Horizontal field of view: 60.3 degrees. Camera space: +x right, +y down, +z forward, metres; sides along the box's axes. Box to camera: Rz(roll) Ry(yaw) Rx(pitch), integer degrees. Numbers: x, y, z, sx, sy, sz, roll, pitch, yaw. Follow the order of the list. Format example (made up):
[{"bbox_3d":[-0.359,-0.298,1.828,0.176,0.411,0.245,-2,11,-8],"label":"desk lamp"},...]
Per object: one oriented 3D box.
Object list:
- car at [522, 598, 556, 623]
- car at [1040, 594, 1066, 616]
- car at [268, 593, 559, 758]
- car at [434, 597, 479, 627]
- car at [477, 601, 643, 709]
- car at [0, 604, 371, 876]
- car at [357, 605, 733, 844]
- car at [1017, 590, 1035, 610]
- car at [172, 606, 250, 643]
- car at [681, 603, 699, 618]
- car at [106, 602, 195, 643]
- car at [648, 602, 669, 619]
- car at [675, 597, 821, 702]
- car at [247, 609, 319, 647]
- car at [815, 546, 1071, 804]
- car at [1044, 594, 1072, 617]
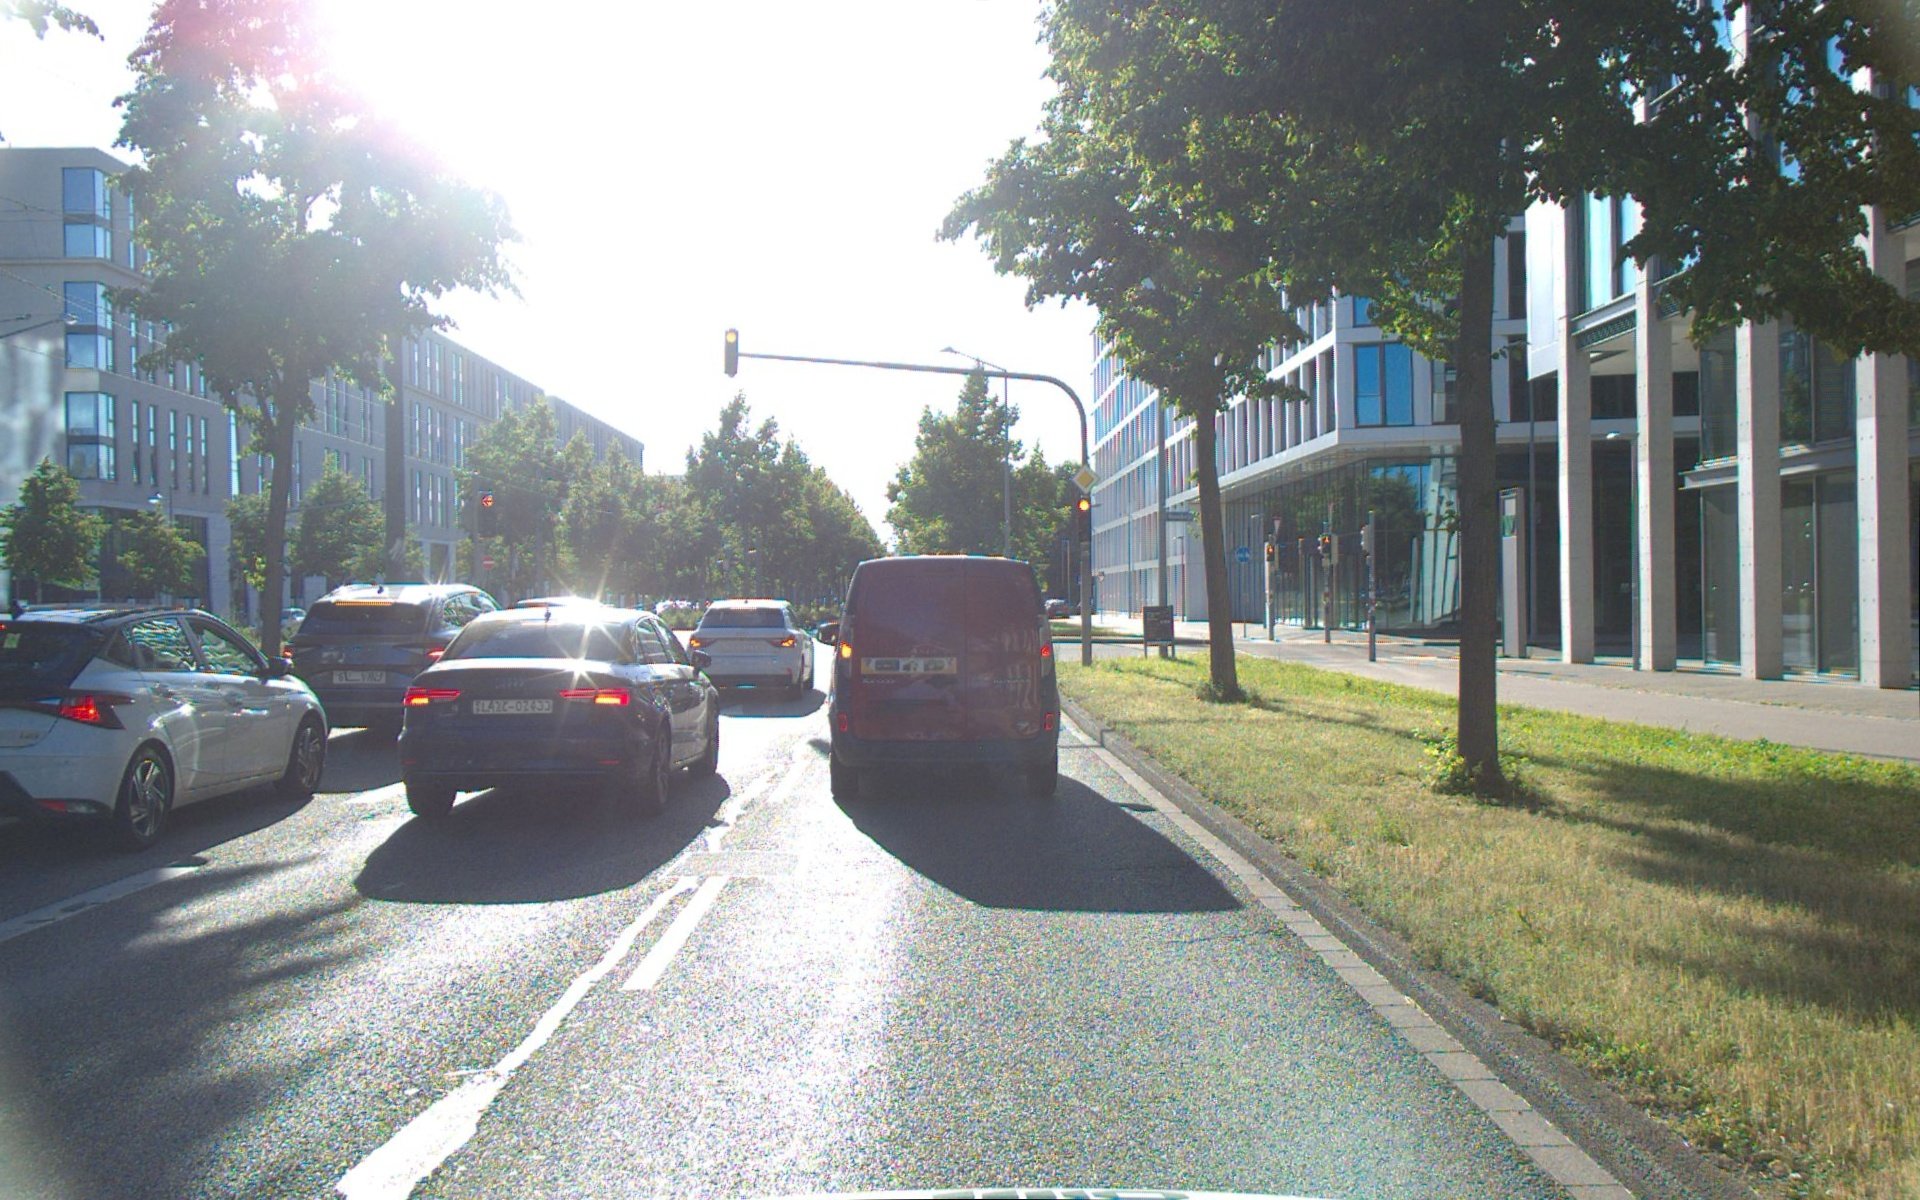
[{"bbox_3d":[-36.552,0.899,143.669,1.953,2.049,3.999,-1,0,-1],"label":"car"},{"bbox_3d":[7.902,0.445,140.820,1.953,1.813,3.999,-1,0,-1],"label":"car"},{"bbox_3d":[-5.780,0.710,18.112,1.763,1.472,4.567,-2,1,-2],"label":"car"},{"bbox_3d":[-35.561,0.840,116.835,1.953,2.049,3.999,-1,0,-1],"label":"car"},{"bbox_3d":[-6.308,0.810,26.556,1.763,1.509,4.565,2,0,-4],"label":"car"},{"bbox_3d":[-5.663,0.787,11.386,1.763,1.473,4.566,-1,0,-3],"label":"car"},{"bbox_3d":[-2.897,0.784,12.540,1.804,1.451,4.338,-1,0,-1],"label":"car"},{"bbox_3d":[8.191,-0.006,206.245,1.953,2.540,4.985,-1,0,-1],"label":"car"},{"bbox_3d":[-33.659,1.072,74.442,1.729,1.546,3.999,-1,0,-1],"label":"car"},{"bbox_3d":[-37.566,1.403,230.019,1.953,2.049,3.999,-1,0,-1],"label":"car"},{"bbox_3d":[-33.416,0.907,68.381,1.729,1.546,3.999,-1,0,-1],"label":"car"},{"bbox_3d":[-37.590,1.259,206.379,1.953,2.049,3.999,-1,0,-1],"label":"car"},{"bbox_3d":[-3.151,0.690,25.255,1.767,1.451,3.900,-1,0,-1],"label":"car"},{"bbox_3d":[-34.973,1.404,85.496,1.953,1.845,4.369,-1,0,-1],"label":"car"},{"bbox_3d":[-0.155,0.532,13.805,1.804,1.812,3.999,-1,0,-1],"label":"car"},{"bbox_3d":[8.030,0.417,135.813,1.953,1.813,3.999,-1,0,-1],"label":"car"}]
